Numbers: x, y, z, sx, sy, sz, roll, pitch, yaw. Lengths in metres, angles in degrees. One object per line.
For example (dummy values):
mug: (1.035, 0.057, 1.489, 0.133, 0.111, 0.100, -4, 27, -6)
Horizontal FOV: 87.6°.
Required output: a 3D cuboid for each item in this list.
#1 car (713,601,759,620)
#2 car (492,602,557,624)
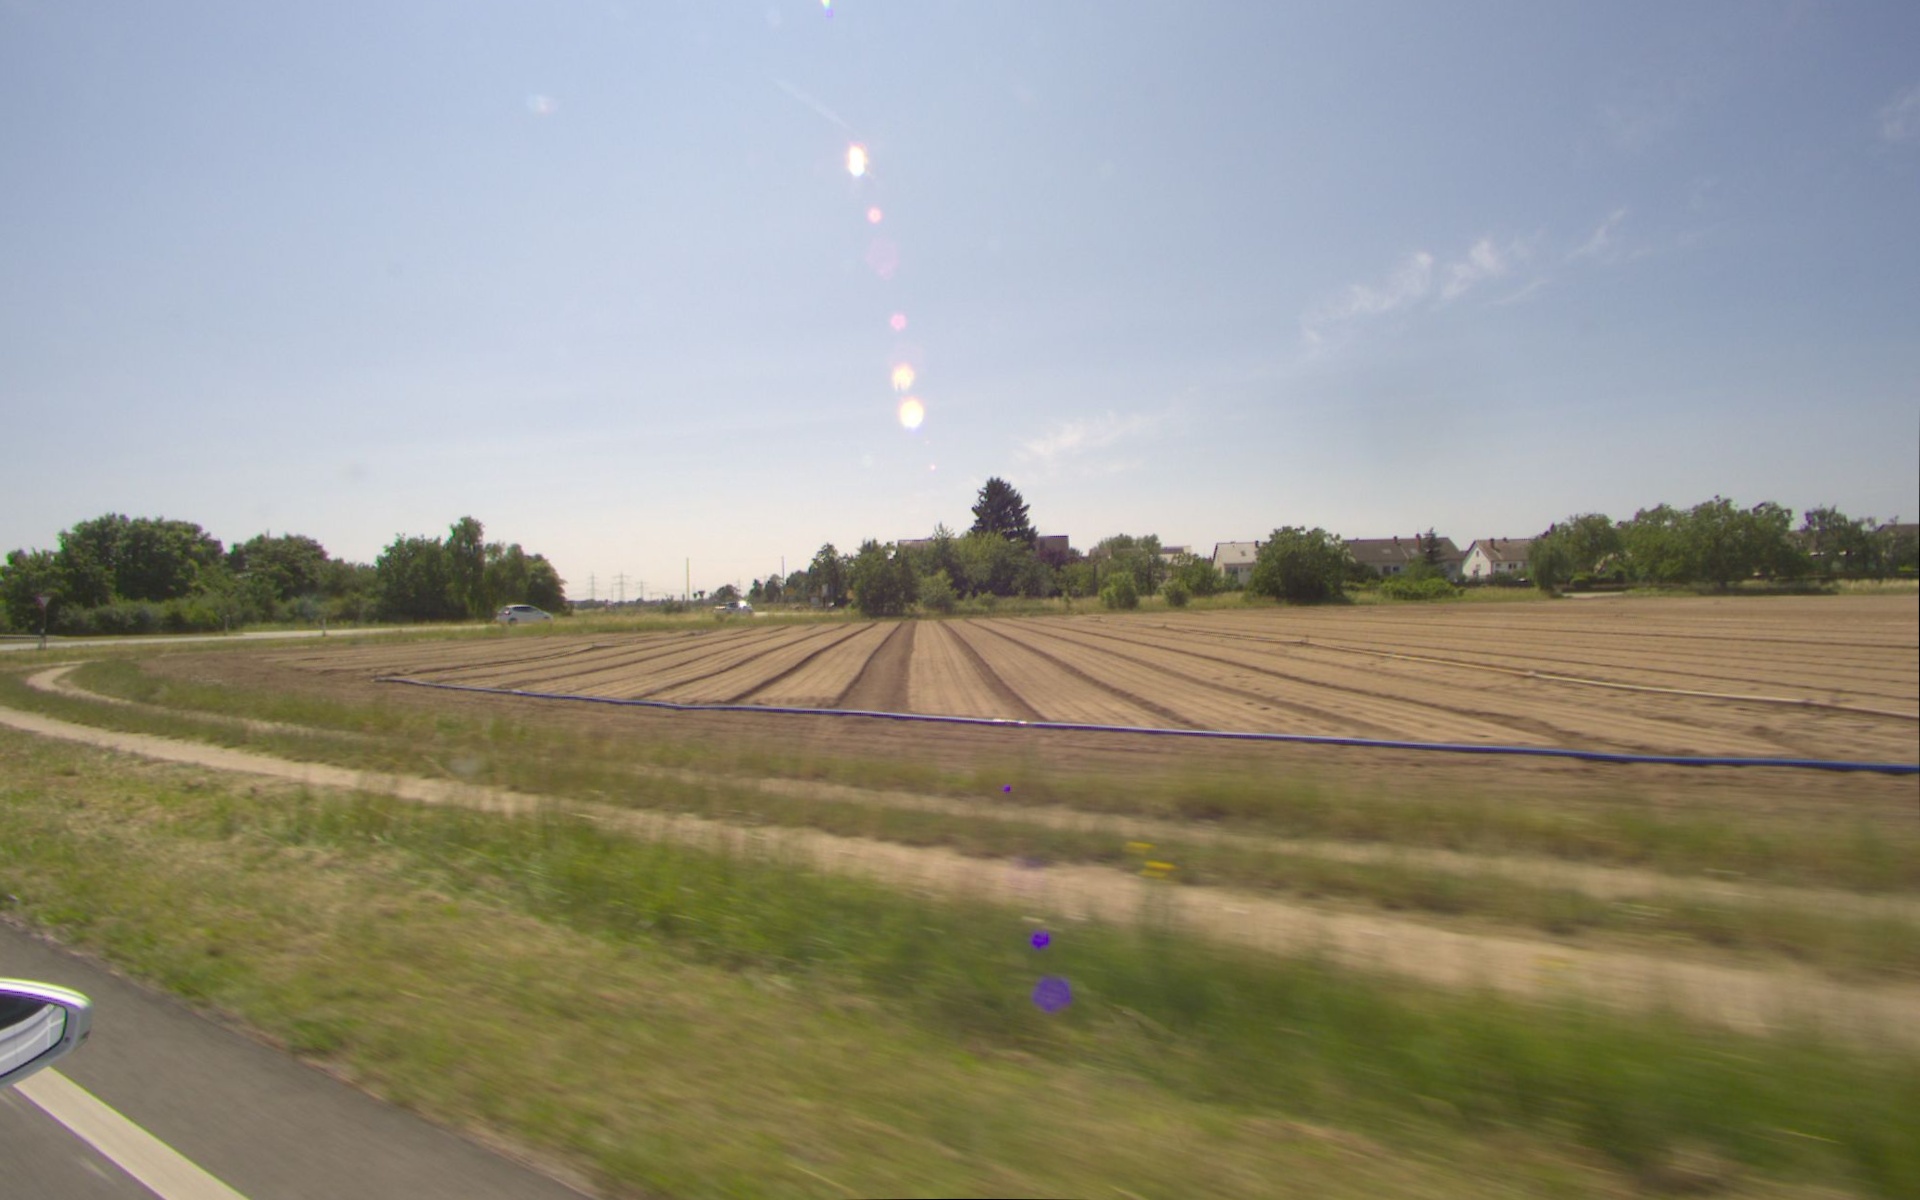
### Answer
car: (-20.269, 0.956, 90.725, 1.624, 1.645, 3.971, 0, 1, 37)
car: (-33.582, 0.990, 77.343, 2.048, 1.645, 4.107, 0, 1, 42)
